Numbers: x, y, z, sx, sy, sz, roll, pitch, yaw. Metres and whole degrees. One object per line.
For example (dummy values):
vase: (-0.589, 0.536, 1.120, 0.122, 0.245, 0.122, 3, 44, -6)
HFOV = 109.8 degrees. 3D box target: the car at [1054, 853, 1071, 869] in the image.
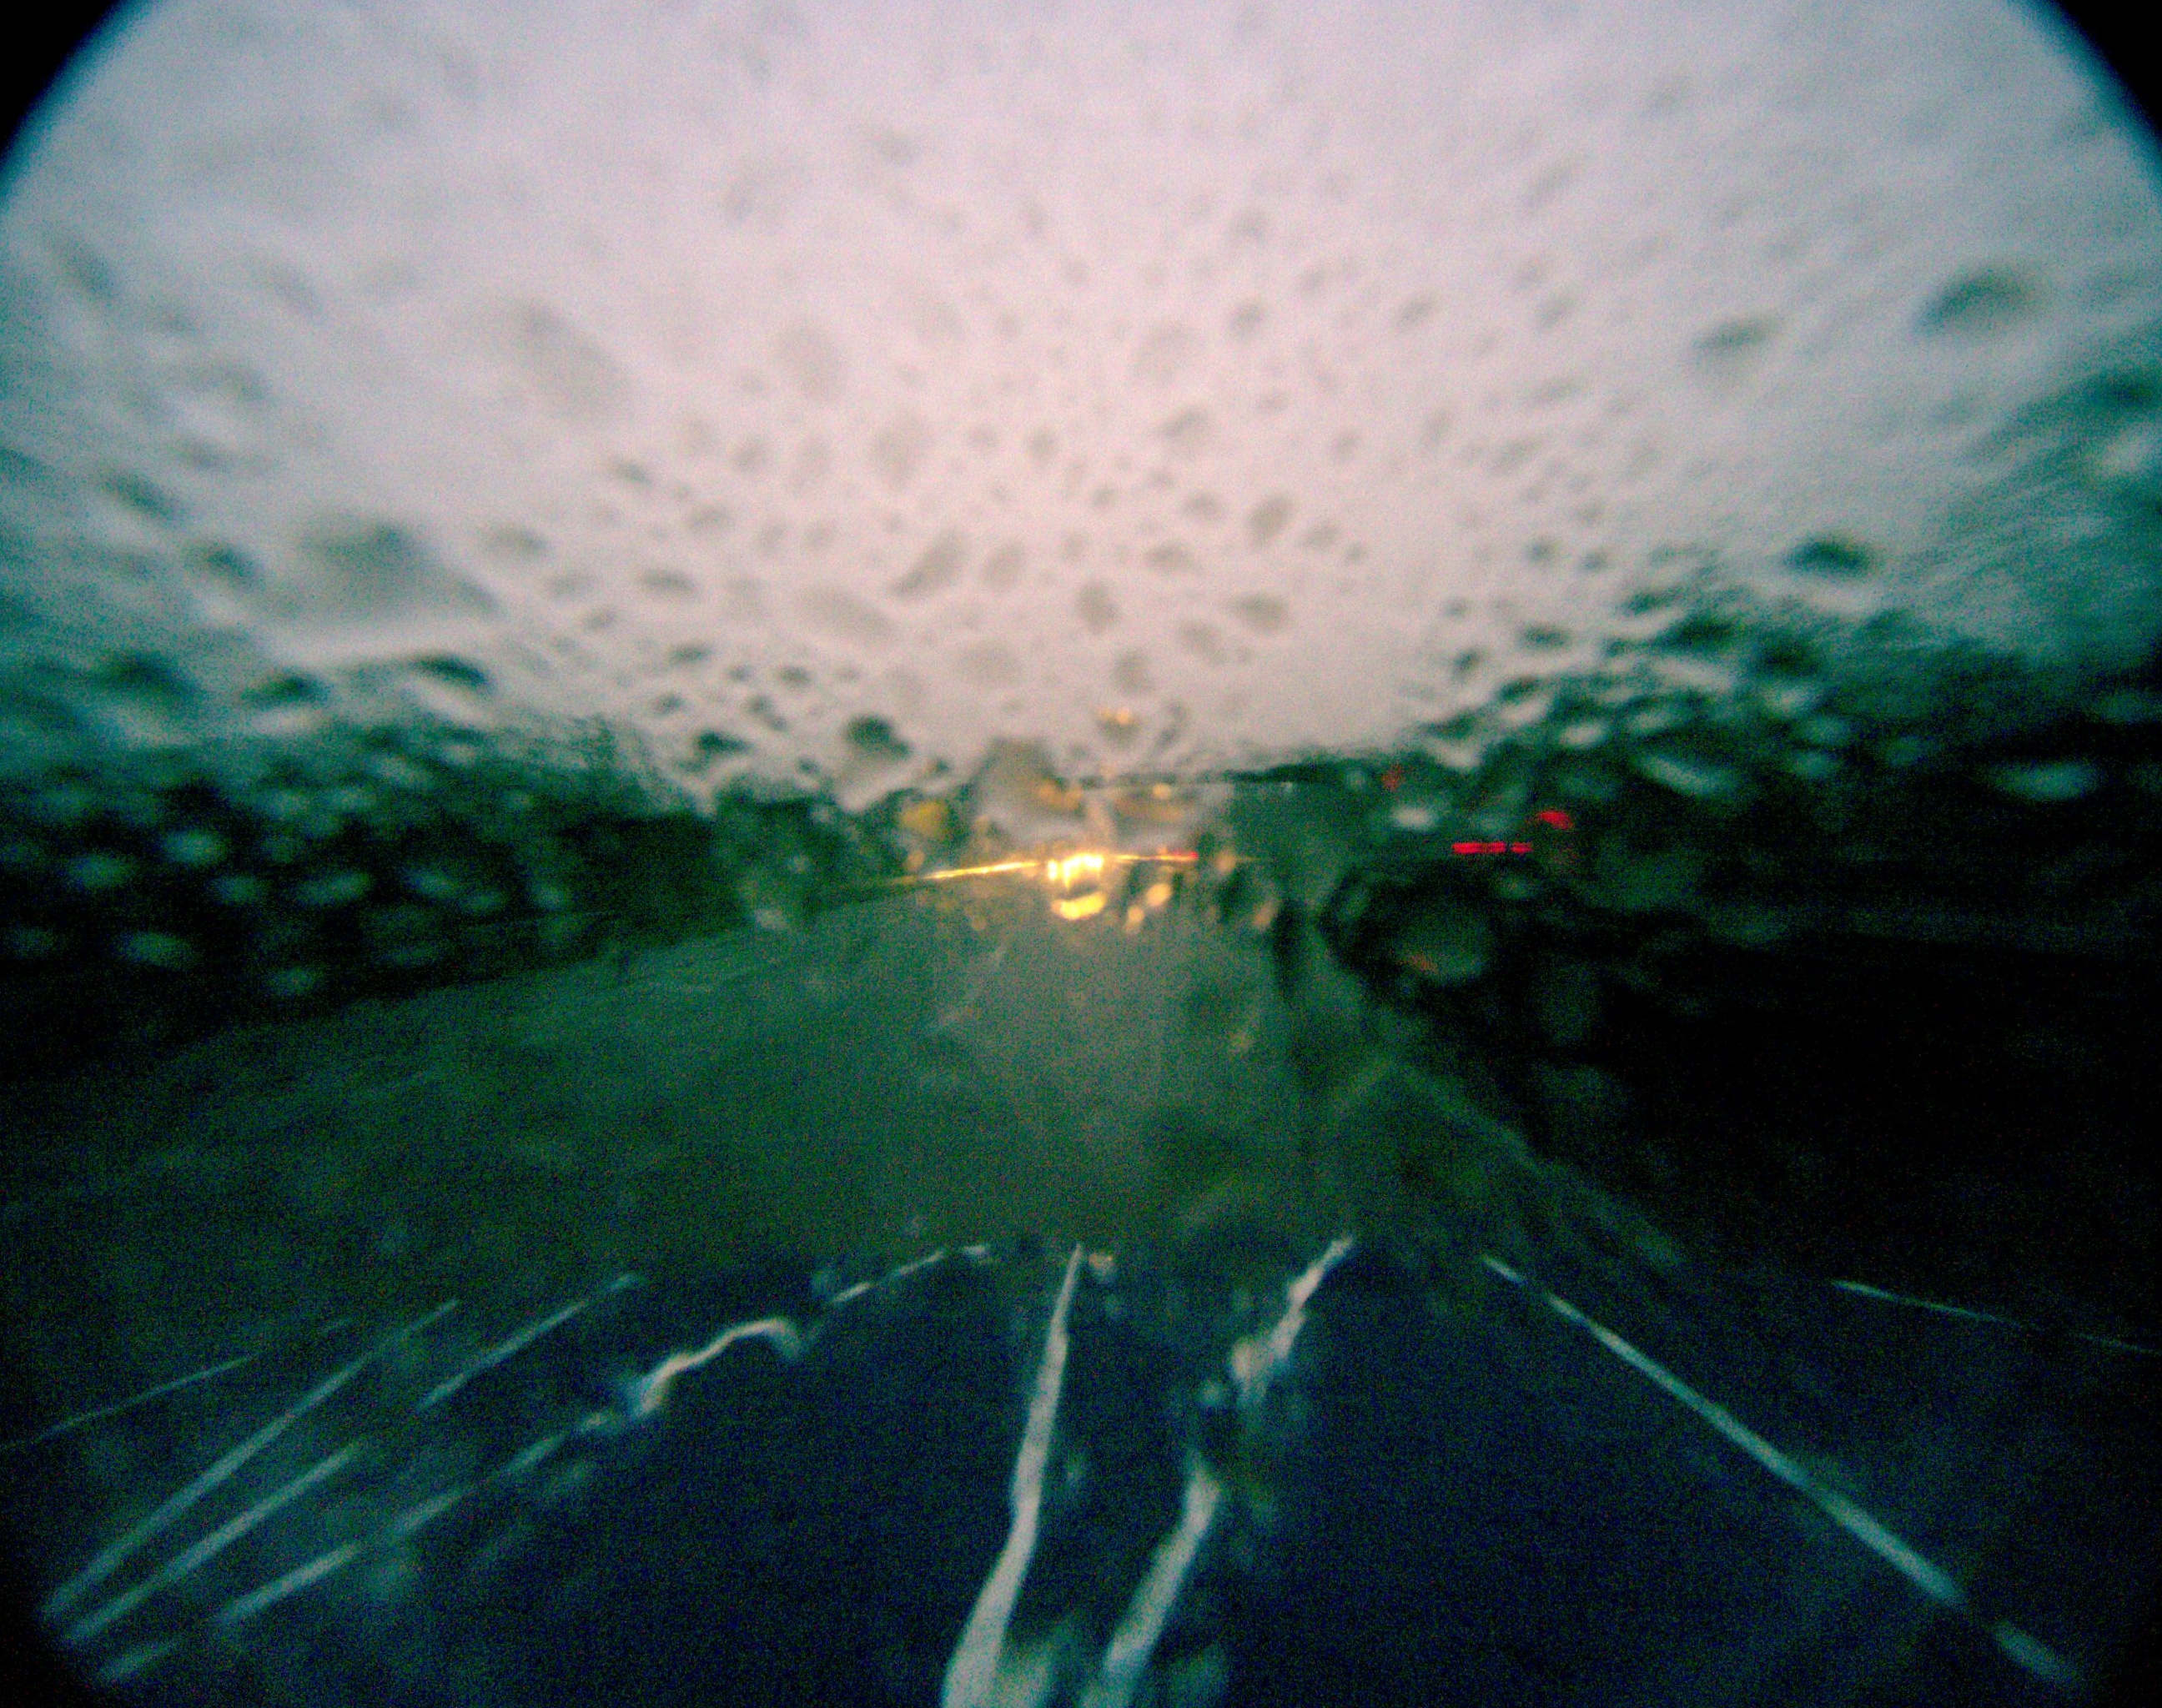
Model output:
car: (-2.035, 0.704, 84.444, 1.748, 1.643, 4.000, -2, 1, 1)

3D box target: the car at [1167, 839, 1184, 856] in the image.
car: (14.015, -0.938, 112.975, 1.998, 2.398, 4.678, -2, 1, 2)

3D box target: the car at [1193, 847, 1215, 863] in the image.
car: (13.147, 0.045, 81.127, 1.784, 1.598, 4.000, -2, 1, 2)

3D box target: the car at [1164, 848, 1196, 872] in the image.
car: (8.049, 0.478, 62.362, 1.909, 1.758, 5.260, -3, 0, 1)

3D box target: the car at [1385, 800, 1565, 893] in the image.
car: (12.244, -0.245, 24.324, 2.482, 2.508, 6.268, -2, 1, 1)
